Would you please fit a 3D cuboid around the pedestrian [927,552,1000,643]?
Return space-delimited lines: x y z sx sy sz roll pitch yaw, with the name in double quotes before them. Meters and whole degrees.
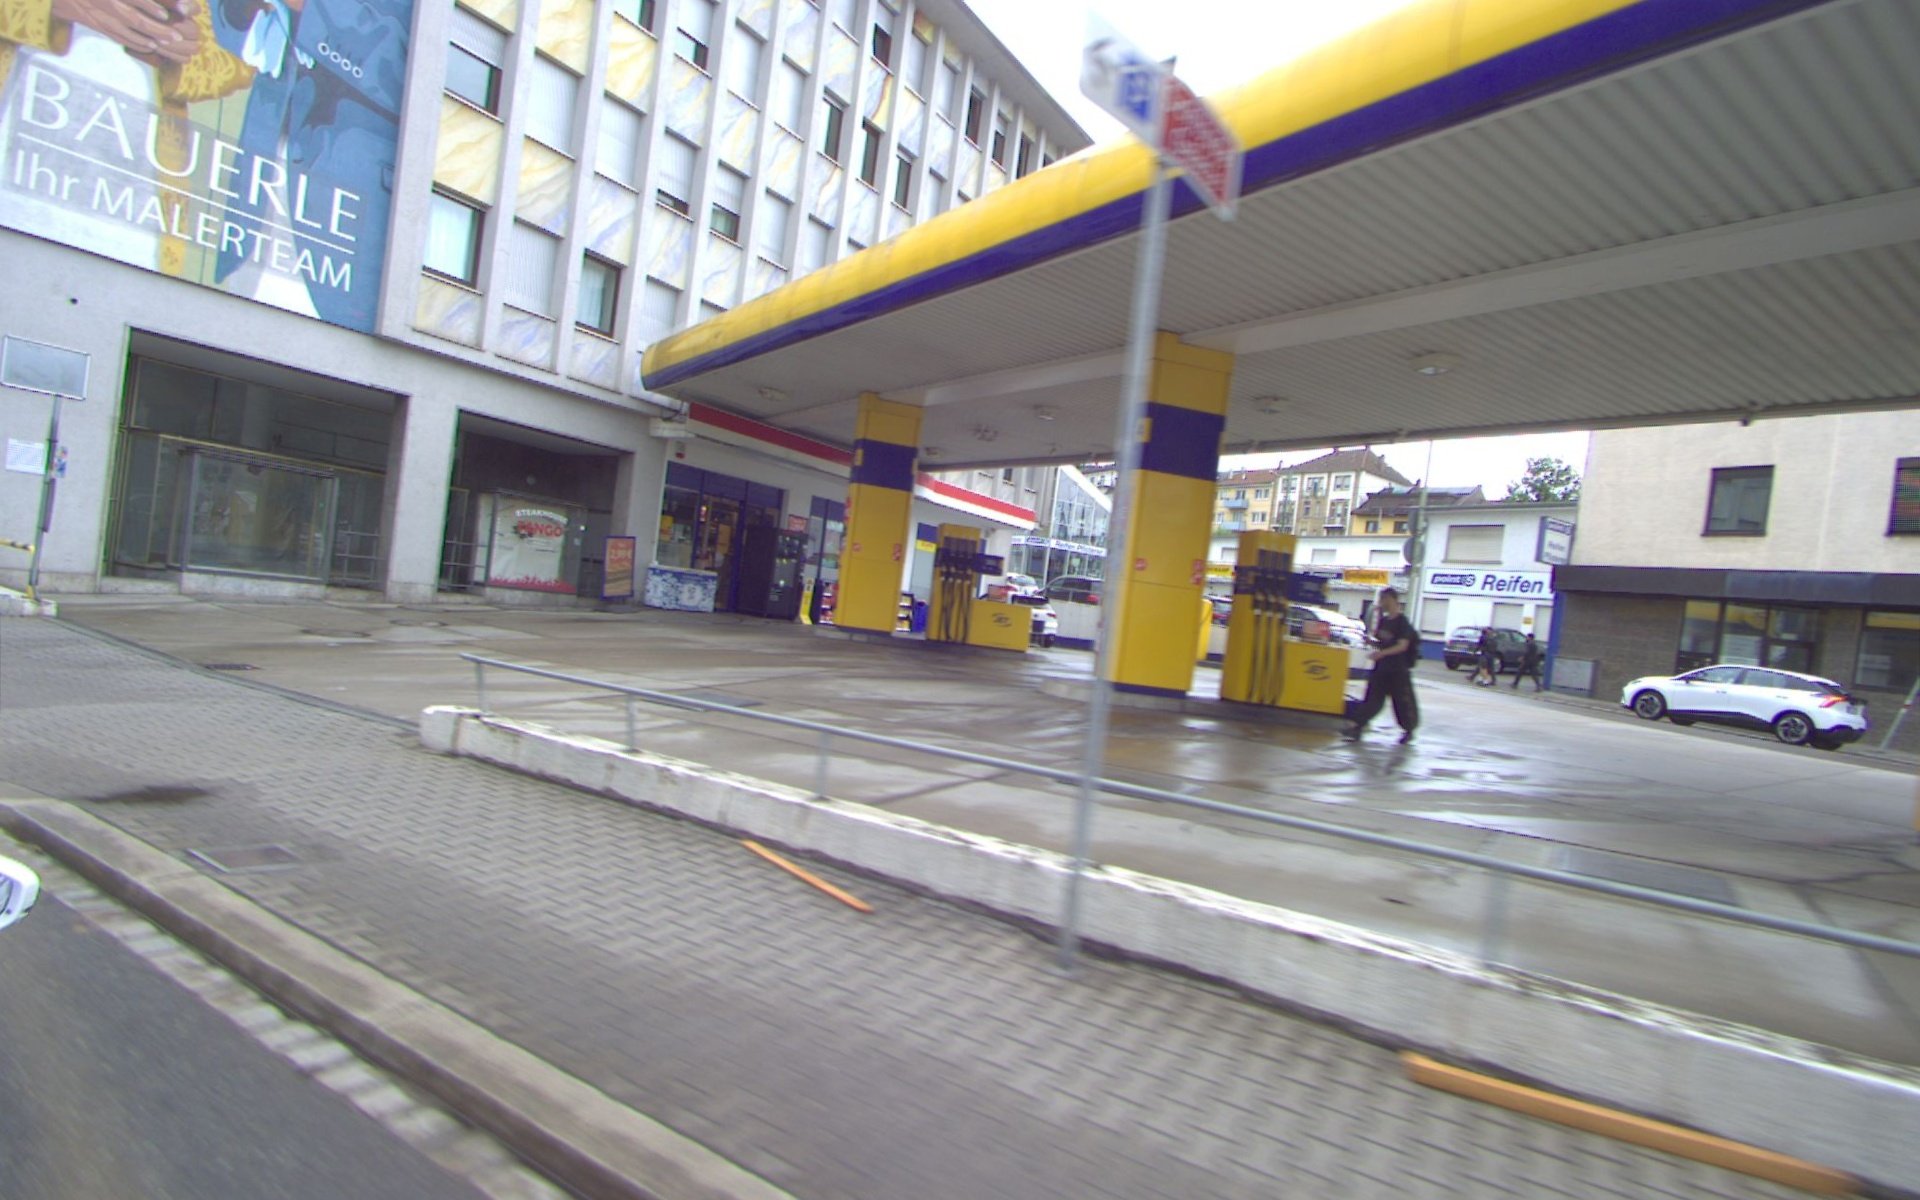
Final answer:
"pedestrian" 0.078 -0.058 21.674 1.268 1.821 0.653 6 2 21

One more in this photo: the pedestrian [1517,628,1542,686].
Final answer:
"pedestrian" 16.665 1.665 29.453 0.326 1.651 0.326 8 0 -16

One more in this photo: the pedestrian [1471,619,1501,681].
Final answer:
"pedestrian" 15.661 1.479 29.941 0.326 1.768 0.520 8 0 -16

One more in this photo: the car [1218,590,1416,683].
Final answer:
"car" 9.164 0.890 26.259 1.978 1.886 4.547 8 -2 -29

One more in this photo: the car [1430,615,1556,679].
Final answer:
"car" 18.891 1.661 35.639 3.957 1.659 1.986 9 -2 -29

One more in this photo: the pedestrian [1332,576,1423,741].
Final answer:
"pedestrian" 4.749 0.645 11.475 0.521 1.796 0.658 4 3 -10

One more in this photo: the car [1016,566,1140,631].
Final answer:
"car" 4.160 -0.104 36.287 1.978 1.886 4.547 8 -2 -29

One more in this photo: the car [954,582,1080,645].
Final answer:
"car" 1.552 0.329 29.266 1.971 1.534 4.399 5 -1 -20

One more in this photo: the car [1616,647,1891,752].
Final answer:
"car" 16.930 2.073 21.703 1.789 1.495 4.175 10 -1 -31

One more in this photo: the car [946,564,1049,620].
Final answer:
"car" 1.459 -0.360 41.334 1.978 1.886 4.547 8 -2 -29

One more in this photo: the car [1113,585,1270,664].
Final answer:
"car" 6.961 0.691 30.770 1.978 1.886 4.547 8 -2 -29
